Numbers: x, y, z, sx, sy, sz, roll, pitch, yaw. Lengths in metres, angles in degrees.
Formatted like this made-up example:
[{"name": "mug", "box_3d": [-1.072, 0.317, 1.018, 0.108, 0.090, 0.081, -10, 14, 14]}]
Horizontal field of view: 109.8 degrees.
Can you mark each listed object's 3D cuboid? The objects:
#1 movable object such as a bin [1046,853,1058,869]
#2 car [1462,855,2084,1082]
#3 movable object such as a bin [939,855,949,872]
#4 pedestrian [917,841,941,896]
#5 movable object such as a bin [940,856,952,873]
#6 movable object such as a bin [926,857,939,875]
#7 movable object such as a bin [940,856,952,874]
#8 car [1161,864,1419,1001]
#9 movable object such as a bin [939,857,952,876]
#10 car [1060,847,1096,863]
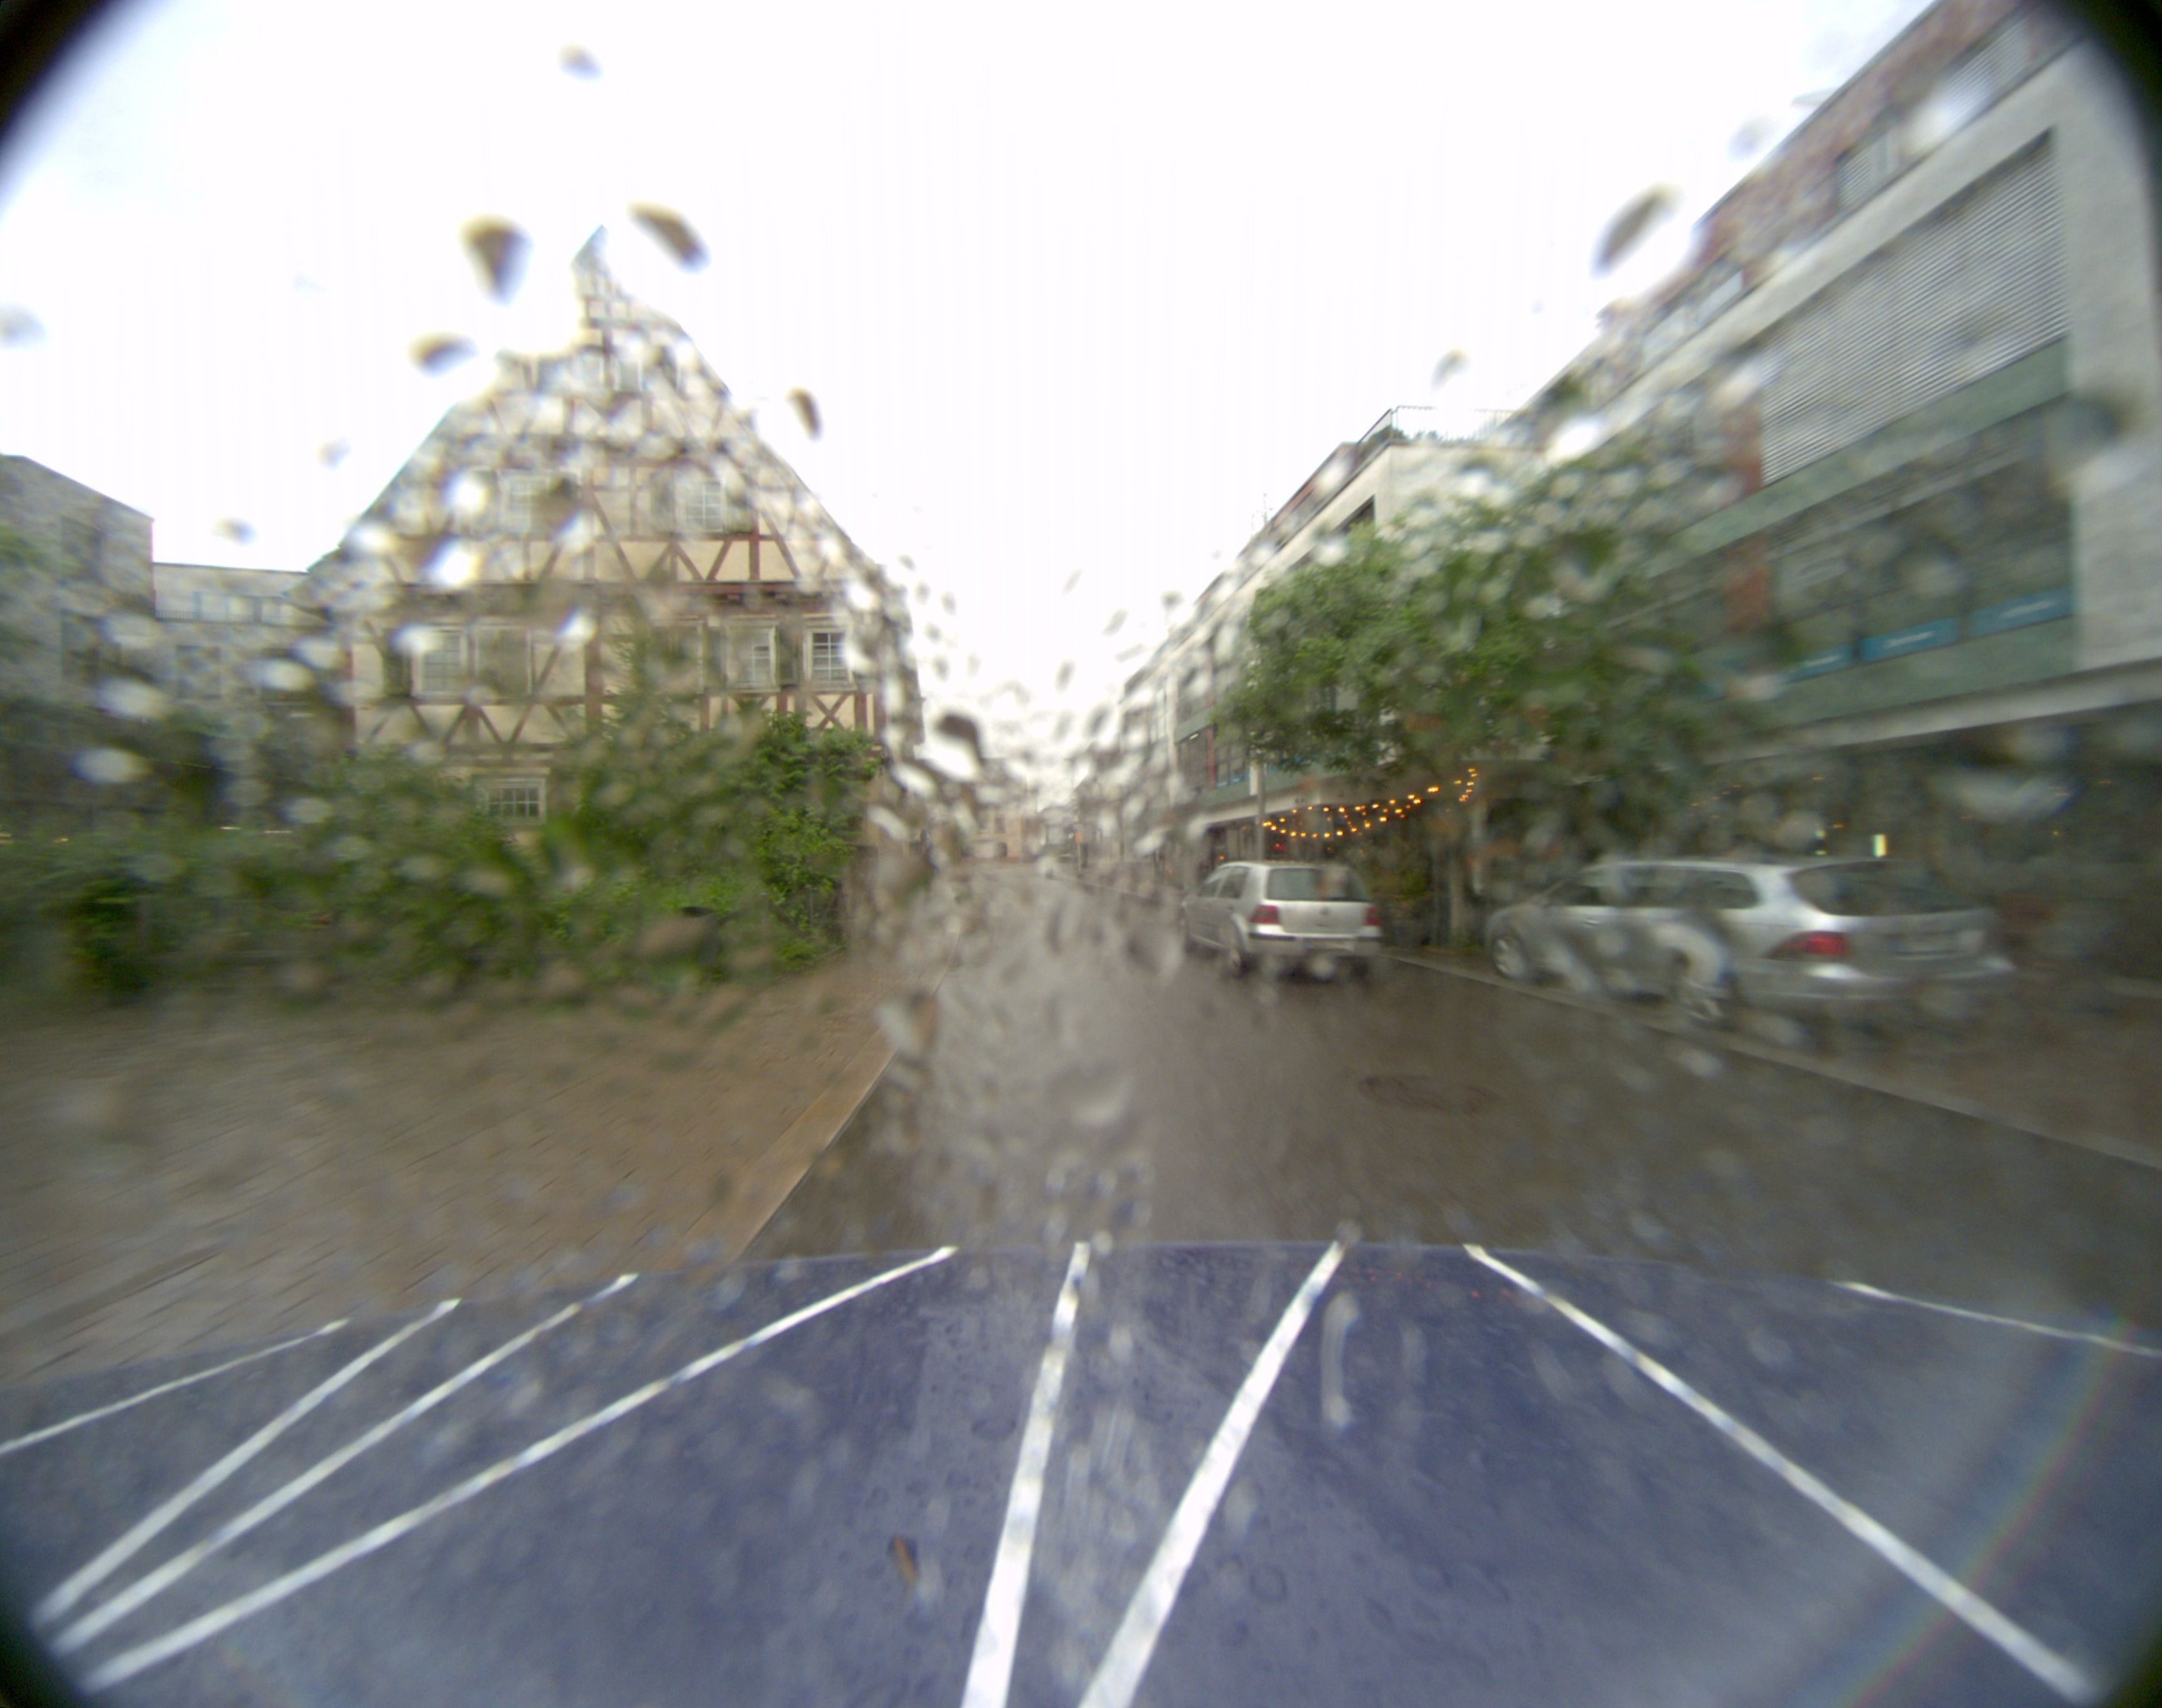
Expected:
[{"name": "movable object such as a bin", "box_3d": [-2.121, 0.500, 55.221, 0.689, 1.075, 0.760, -3, 2, -12]}, {"name": "car", "box_3d": [5.927, 0.786, 7.464, 1.792, 1.490, 4.451, 0, 1, -6]}, {"name": "movable object such as a bin", "box_3d": [-9.178, 0.622, 51.012, 0.665, 1.089, 0.550, 0, 1, -12]}, {"name": "pedestrian", "box_3d": [-5.384, 0.509, 26.851, 0.813, 1.874, 0.906, 1, 0, -12]}, {"name": "movable object such as a bin", "box_3d": [-8.673, 0.668, 48.693, 0.768, 1.089, 0.580, 0, 1, -11]}, {"name": "movable object such as a bin", "box_3d": [-8.873, 0.705, 45.397, 0.768, 1.089, 0.626, 0, 1, -11]}, {"name": "movable object such as a bin", "box_3d": [-8.552, 0.680, 48.106, 0.768, 1.089, 0.580, 0, 1, -11]}, {"name": "car", "box_3d": [2.537, 0.900, 10.358, 1.796, 1.409, 4.025, 1, 0, -10]}, {"name": "movable object such as a bin", "box_3d": [-8.004, 0.737, 44.980, 0.768, 1.089, 0.580, 0, 1, -11]}, {"name": "car", "box_3d": [-0.399, 0.125, 98.406, 4.482, 2.002, 2.001, 1, 0, 6]}]
